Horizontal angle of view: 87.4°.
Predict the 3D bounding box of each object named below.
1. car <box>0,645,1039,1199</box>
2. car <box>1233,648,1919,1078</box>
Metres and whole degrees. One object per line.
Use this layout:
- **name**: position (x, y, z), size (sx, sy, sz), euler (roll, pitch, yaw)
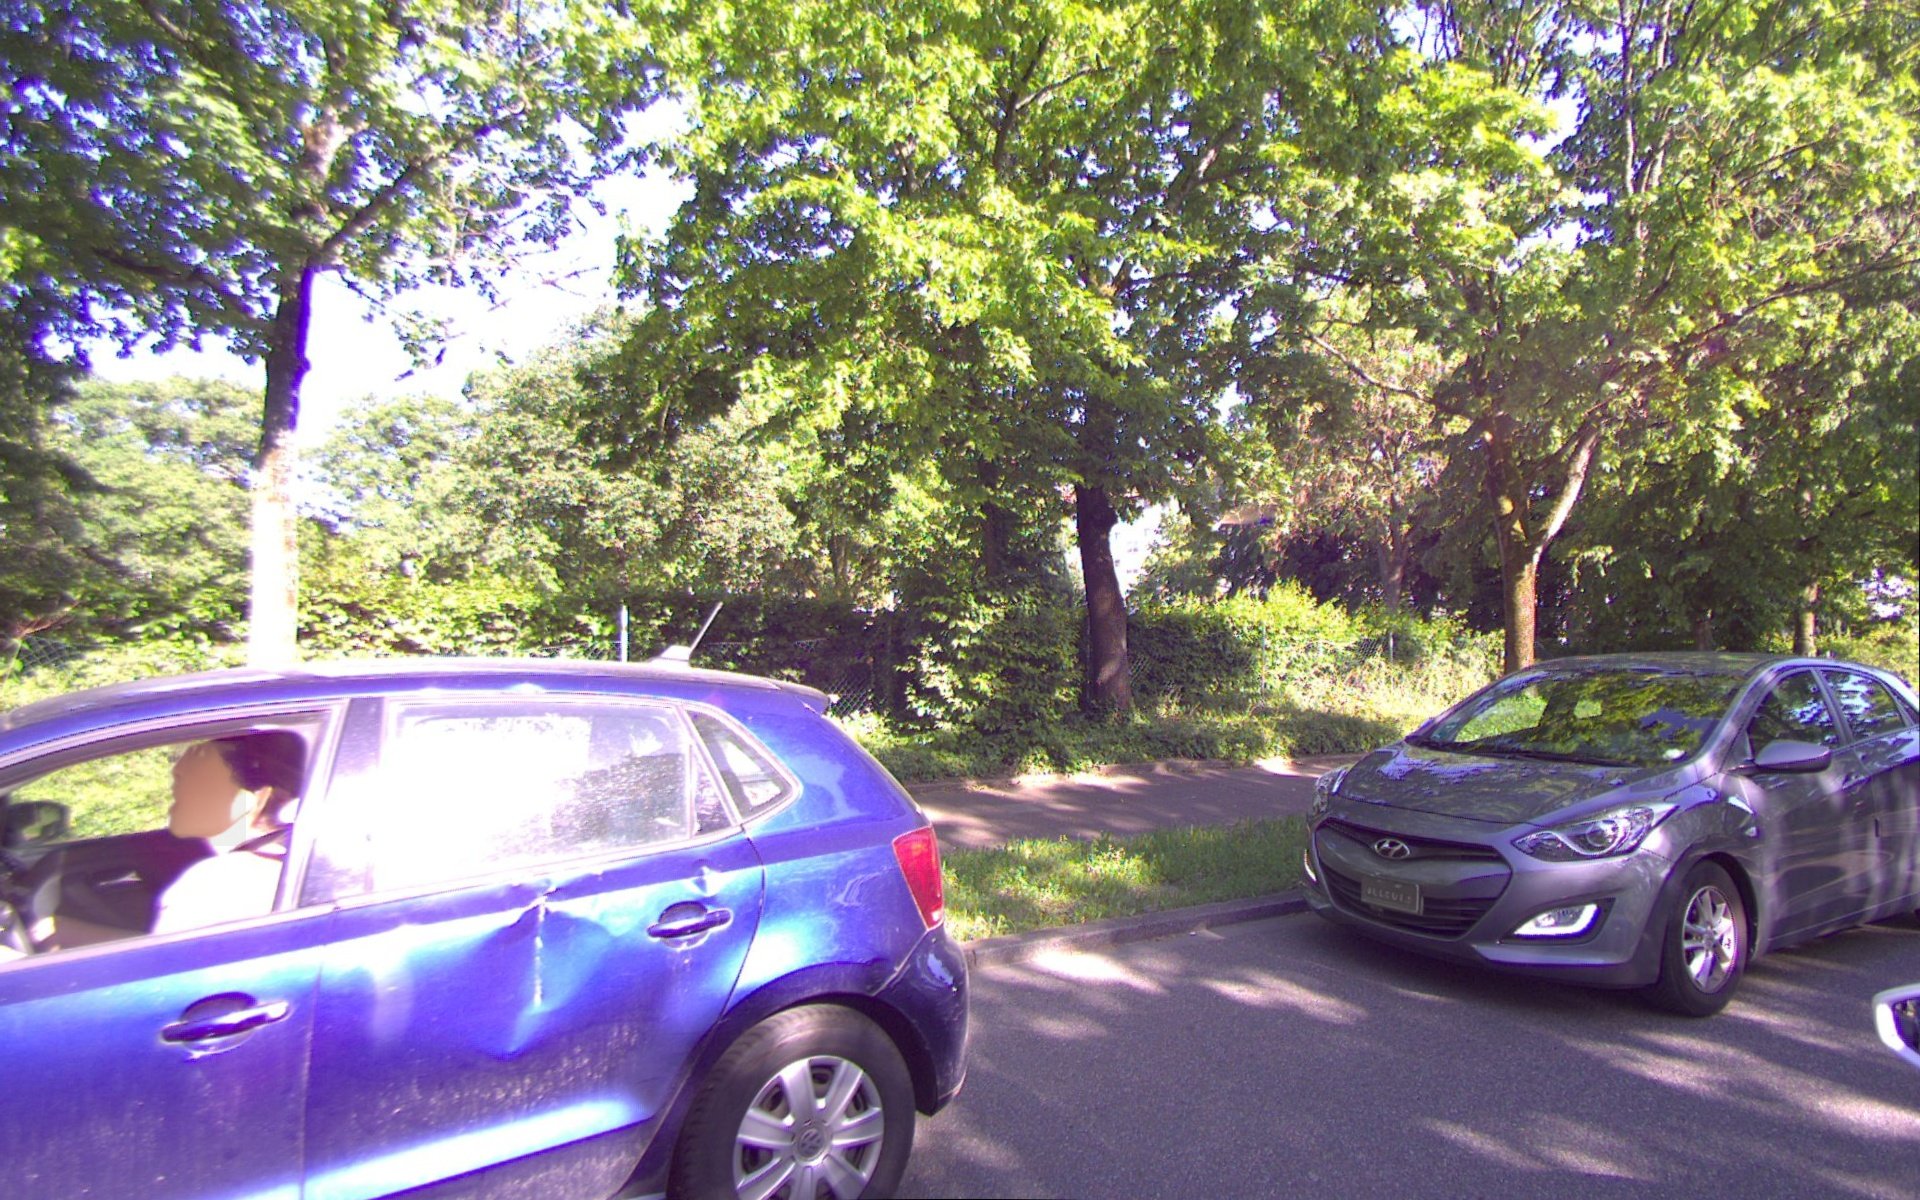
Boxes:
- **car**: position (-1.743, 0.841, 2.407), size (3.609, 1.445, 1.593), euler (1, -3, -30)
- **car**: position (3.629, 1.002, 5.315), size (4.190, 1.473, 1.748), euler (1, -3, -29)
